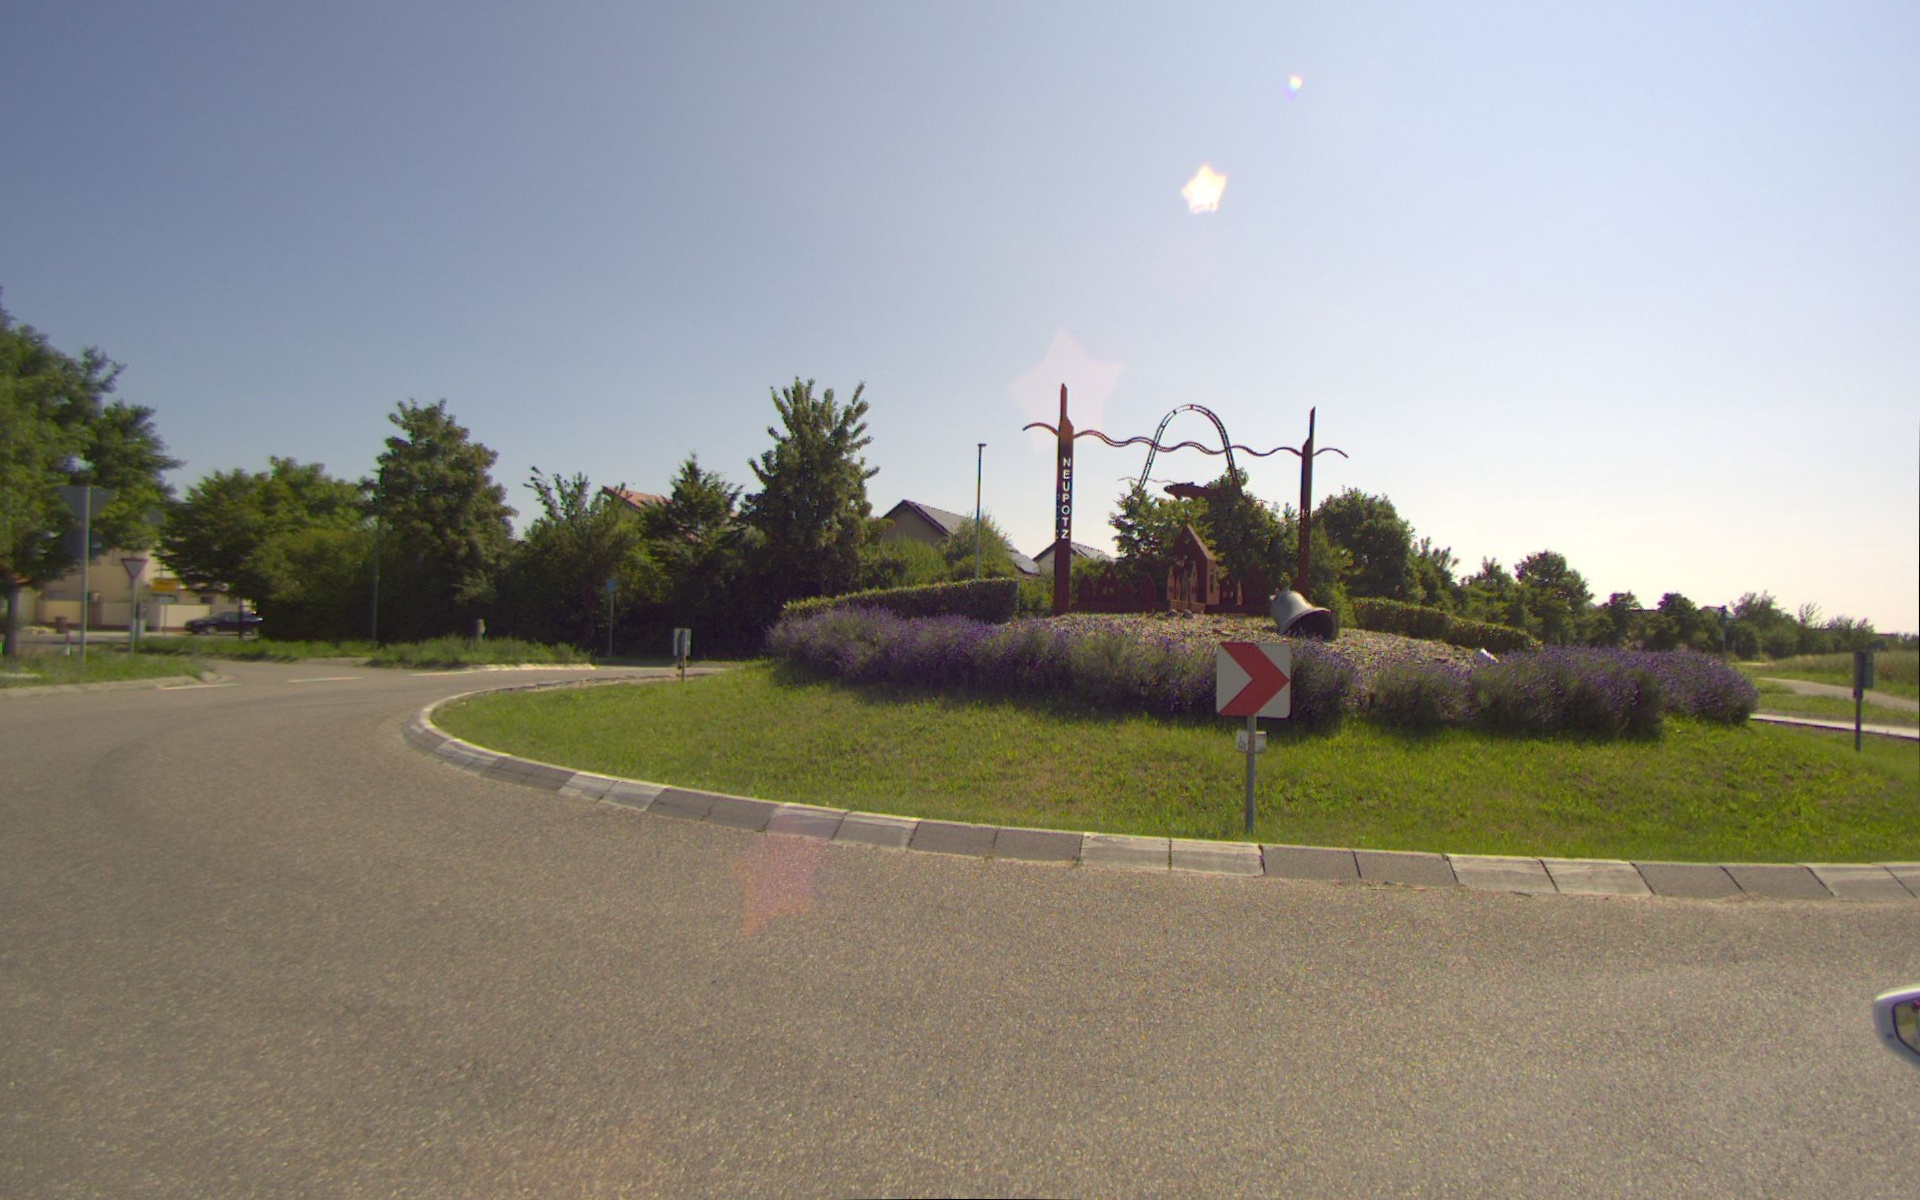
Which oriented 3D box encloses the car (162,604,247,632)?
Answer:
[{"bbox_3d":[-45.403,1.097,60.451,1.579,1.523,3.729,2,-1,23],"label":"car"}]
